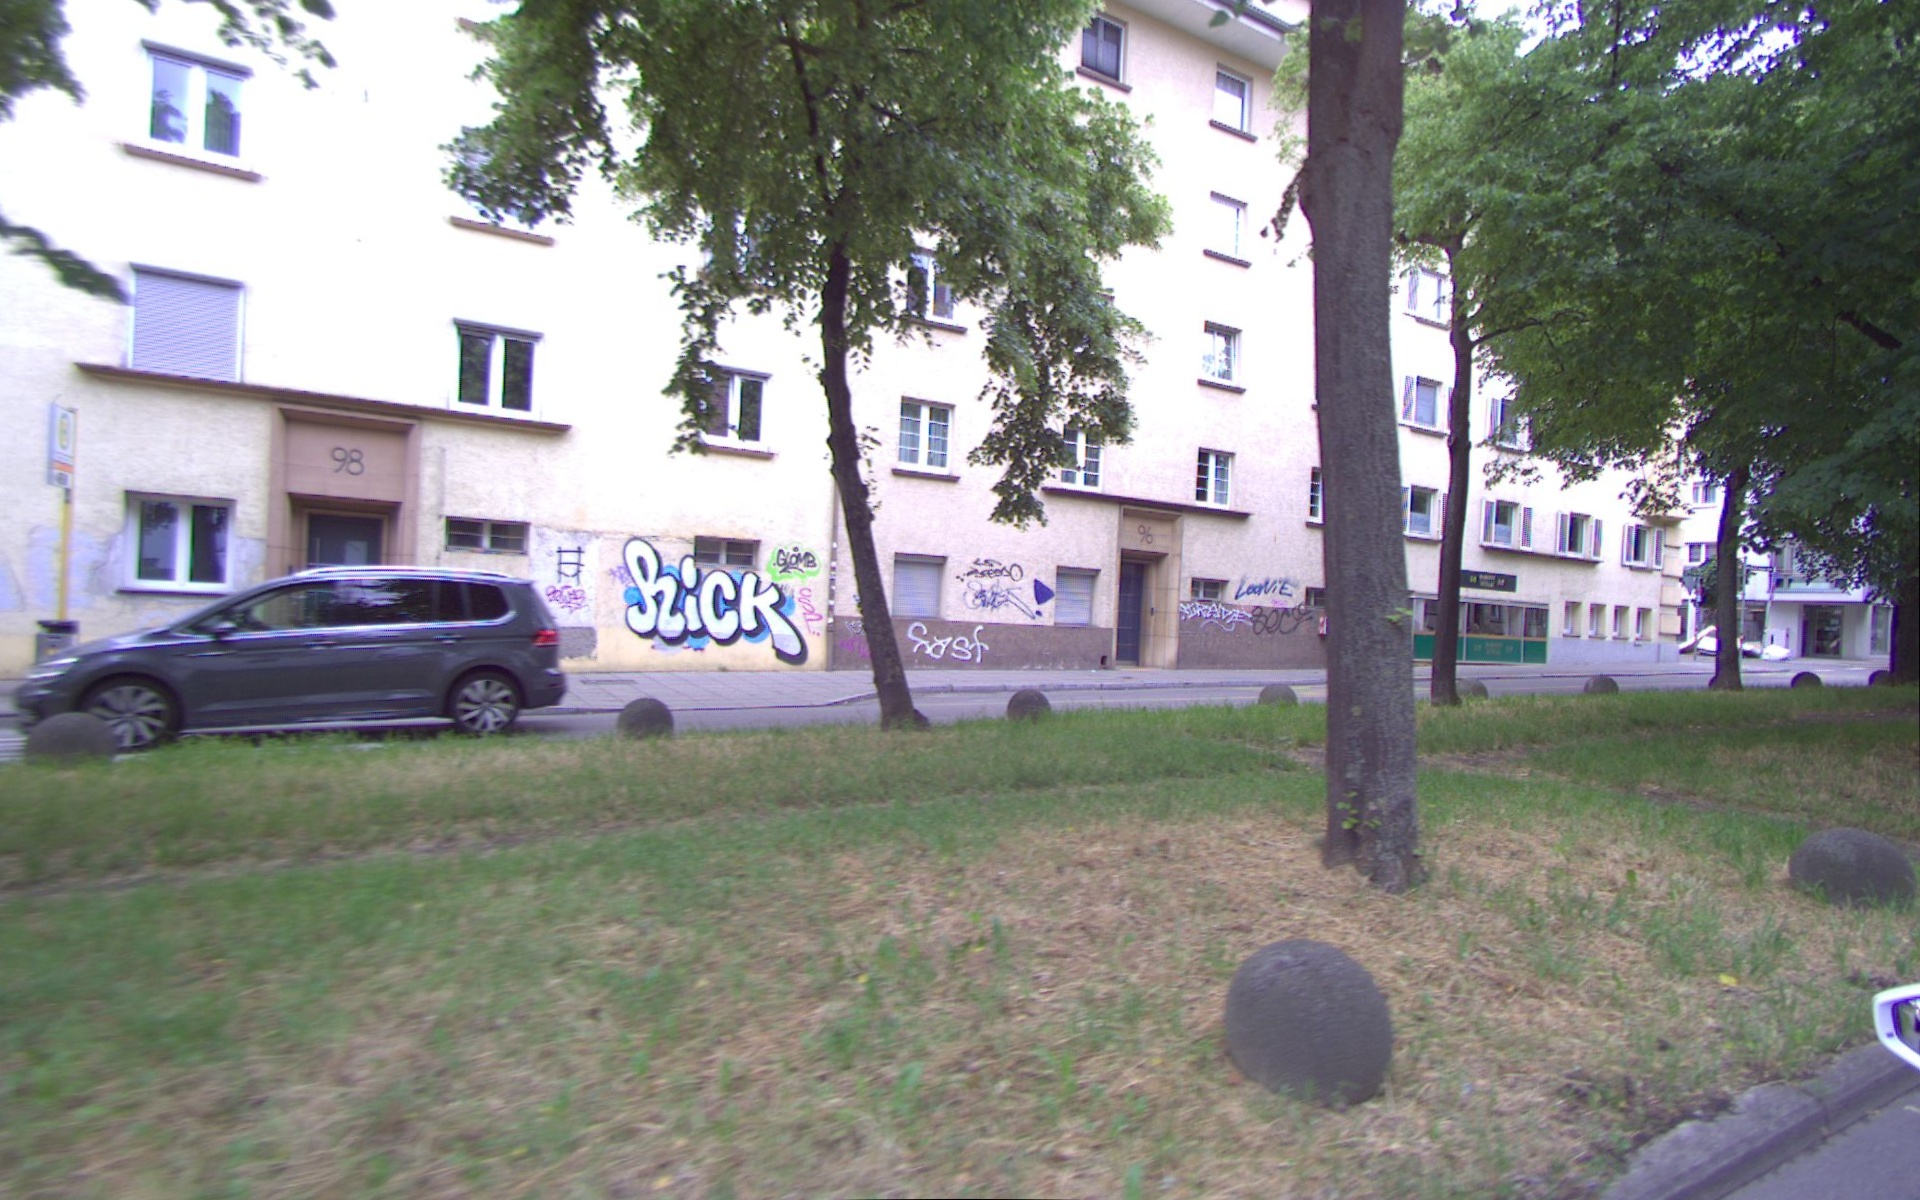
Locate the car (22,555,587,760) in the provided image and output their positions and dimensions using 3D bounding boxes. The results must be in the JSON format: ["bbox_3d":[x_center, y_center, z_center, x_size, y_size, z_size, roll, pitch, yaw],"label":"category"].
[{"bbox_3d":[-6.184,0.528,10.045,4.316,1.650,1.938,2,-2,-32],"label":"car"}]
